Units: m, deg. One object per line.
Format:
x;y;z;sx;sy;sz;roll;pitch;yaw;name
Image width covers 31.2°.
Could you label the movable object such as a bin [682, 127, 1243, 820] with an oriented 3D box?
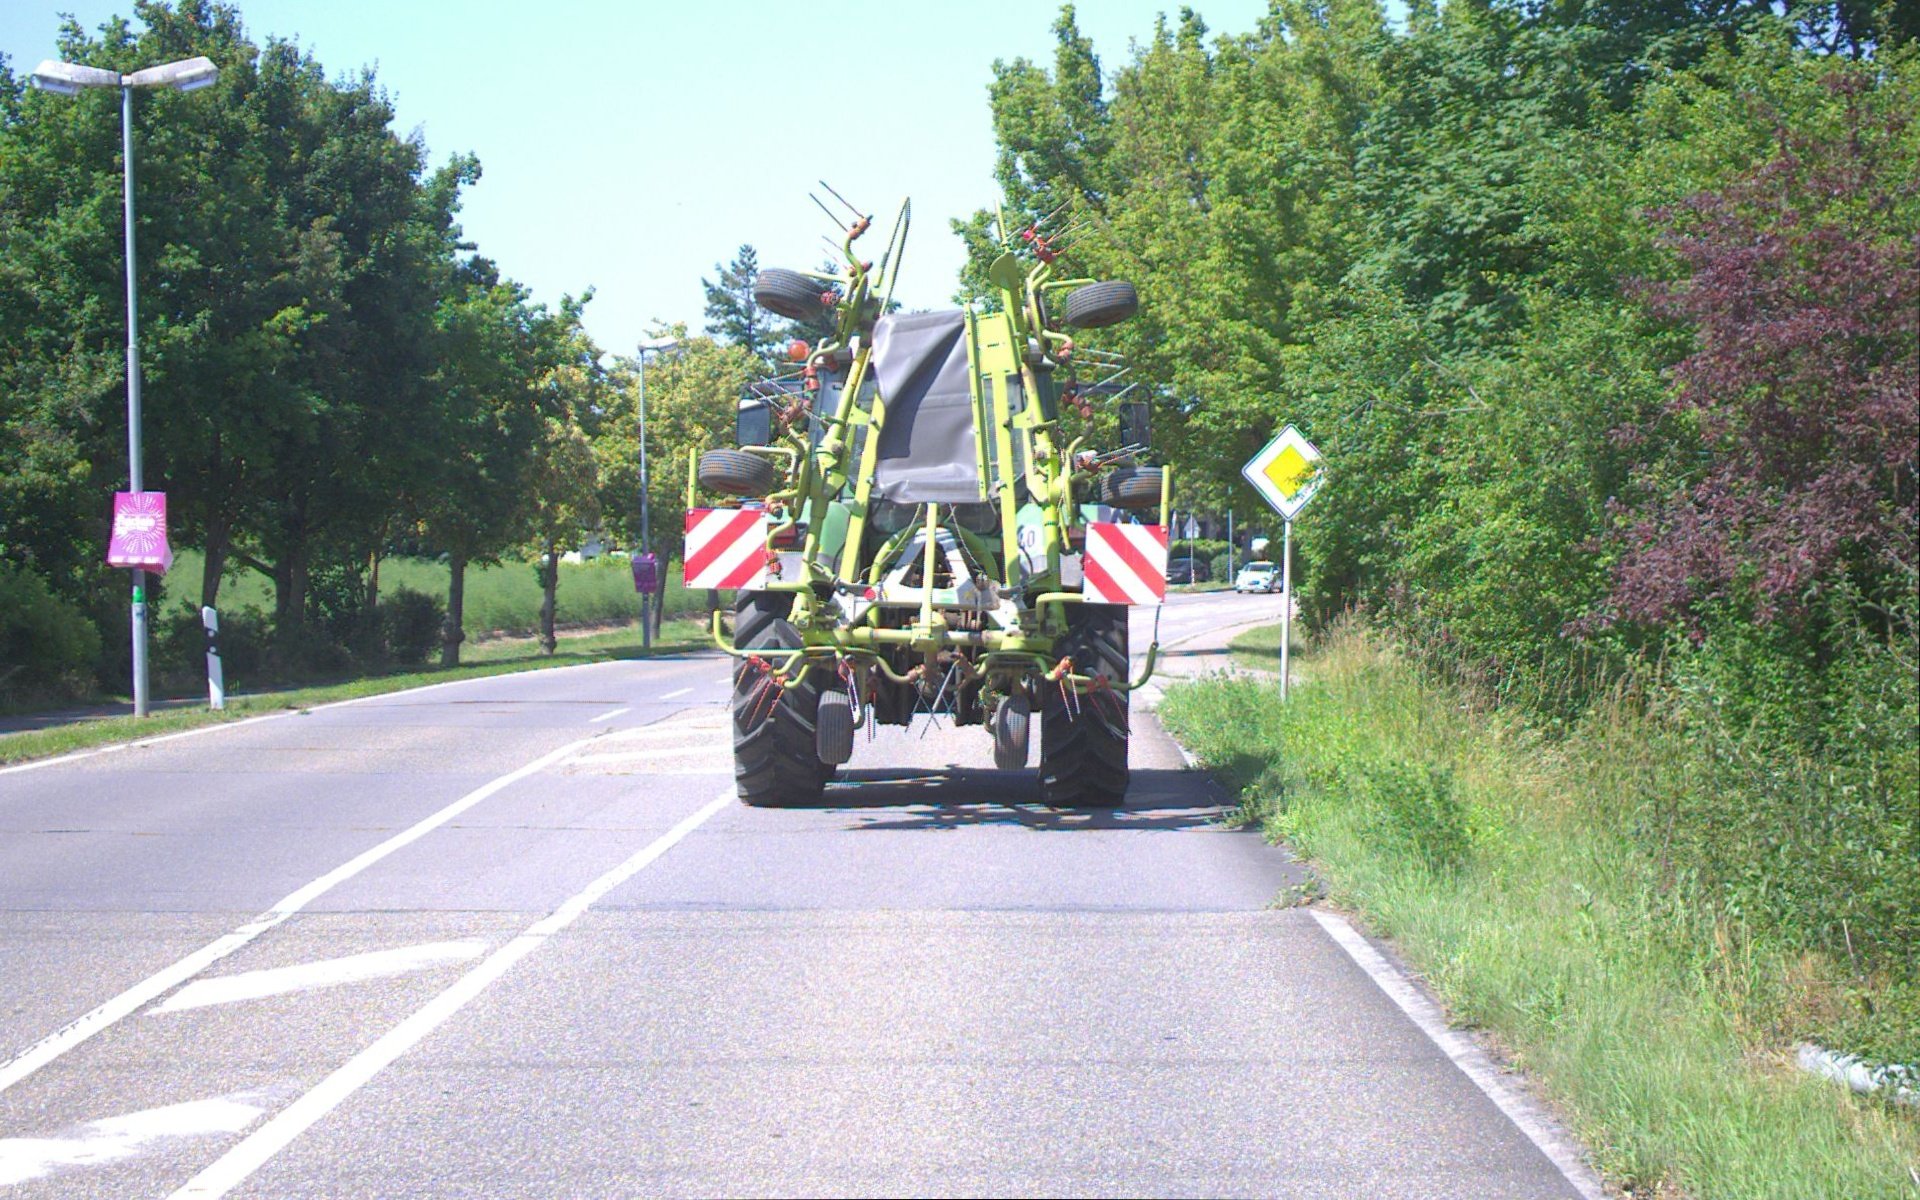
-0.087;-0.759;22.452;2.853;3.529;9.702;0;1;-1;movable object such as a bin
